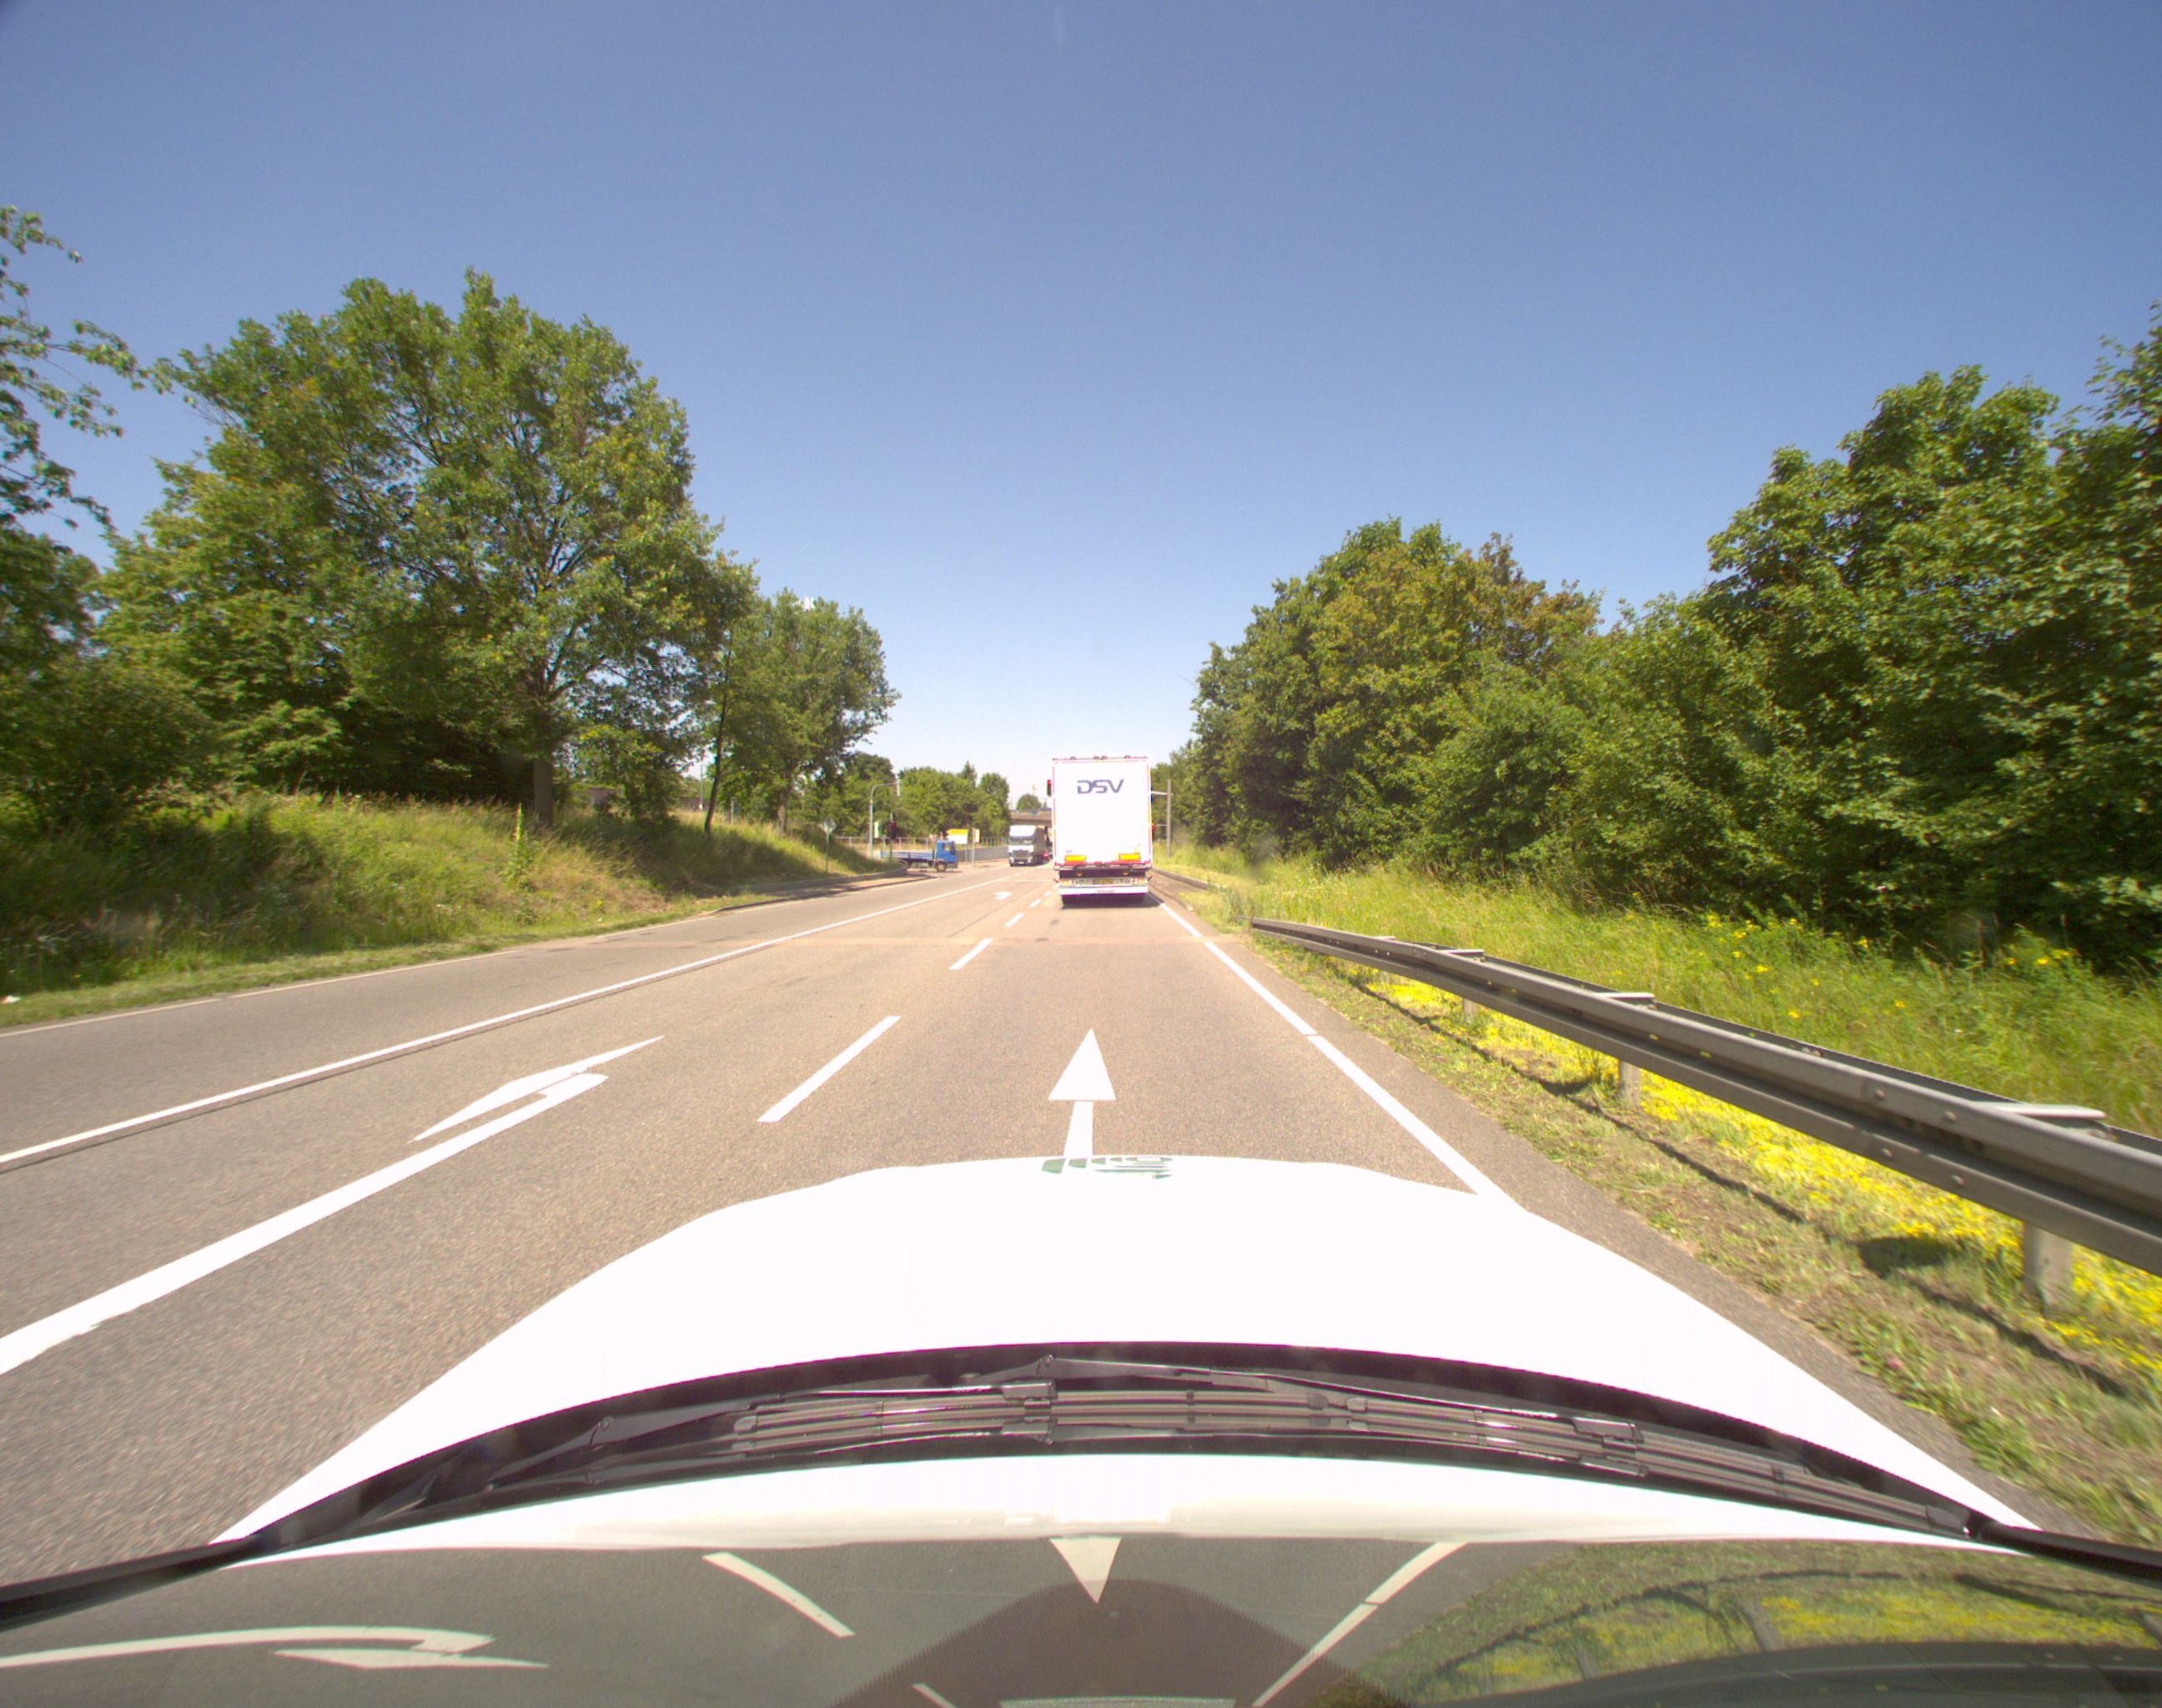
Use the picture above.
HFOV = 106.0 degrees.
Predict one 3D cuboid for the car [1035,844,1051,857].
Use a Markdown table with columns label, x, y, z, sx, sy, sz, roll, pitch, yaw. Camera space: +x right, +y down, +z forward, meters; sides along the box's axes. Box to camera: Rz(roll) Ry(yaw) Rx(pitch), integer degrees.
| label | x | y | z | sx | sy | sz | roll | pitch | yaw |
| --- | --- | --- | --- | --- | --- | --- | --- | --- | --- |
| car | -4.817 | -0.450 | 102.838 | 1.741 | 1.626 | 3.704 | -1 | 1 | 1 |

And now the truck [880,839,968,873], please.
| label | x | y | z | sx | sy | sz | roll | pitch | yaw |
| --- | --- | --- | --- | --- | --- | --- | --- | --- | --- |
| truck | -11.860 | 0.152 | 61.814 | 6.411 | 2.499 | 2.705 | 0 | 0 | -10 |

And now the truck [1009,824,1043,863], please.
| label | x | y | z | sx | sy | sz | roll | pitch | yaw |
| --- | --- | --- | --- | --- | --- | --- | --- | --- | --- |
| truck | -5.643 | -1.122 | 85.486 | 2.344 | 3.749 | 12.630 | -1 | 1 | 2 |

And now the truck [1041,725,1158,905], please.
| label | x | y | z | sx | sy | sz | roll | pitch | yaw |
| --- | --- | --- | --- | --- | --- | --- | --- | --- | --- |
| truck | 0.734 | -1.018 | 25.813 | 2.938 | 4.568 | 9.870 | -1 | 0 | 3 |
